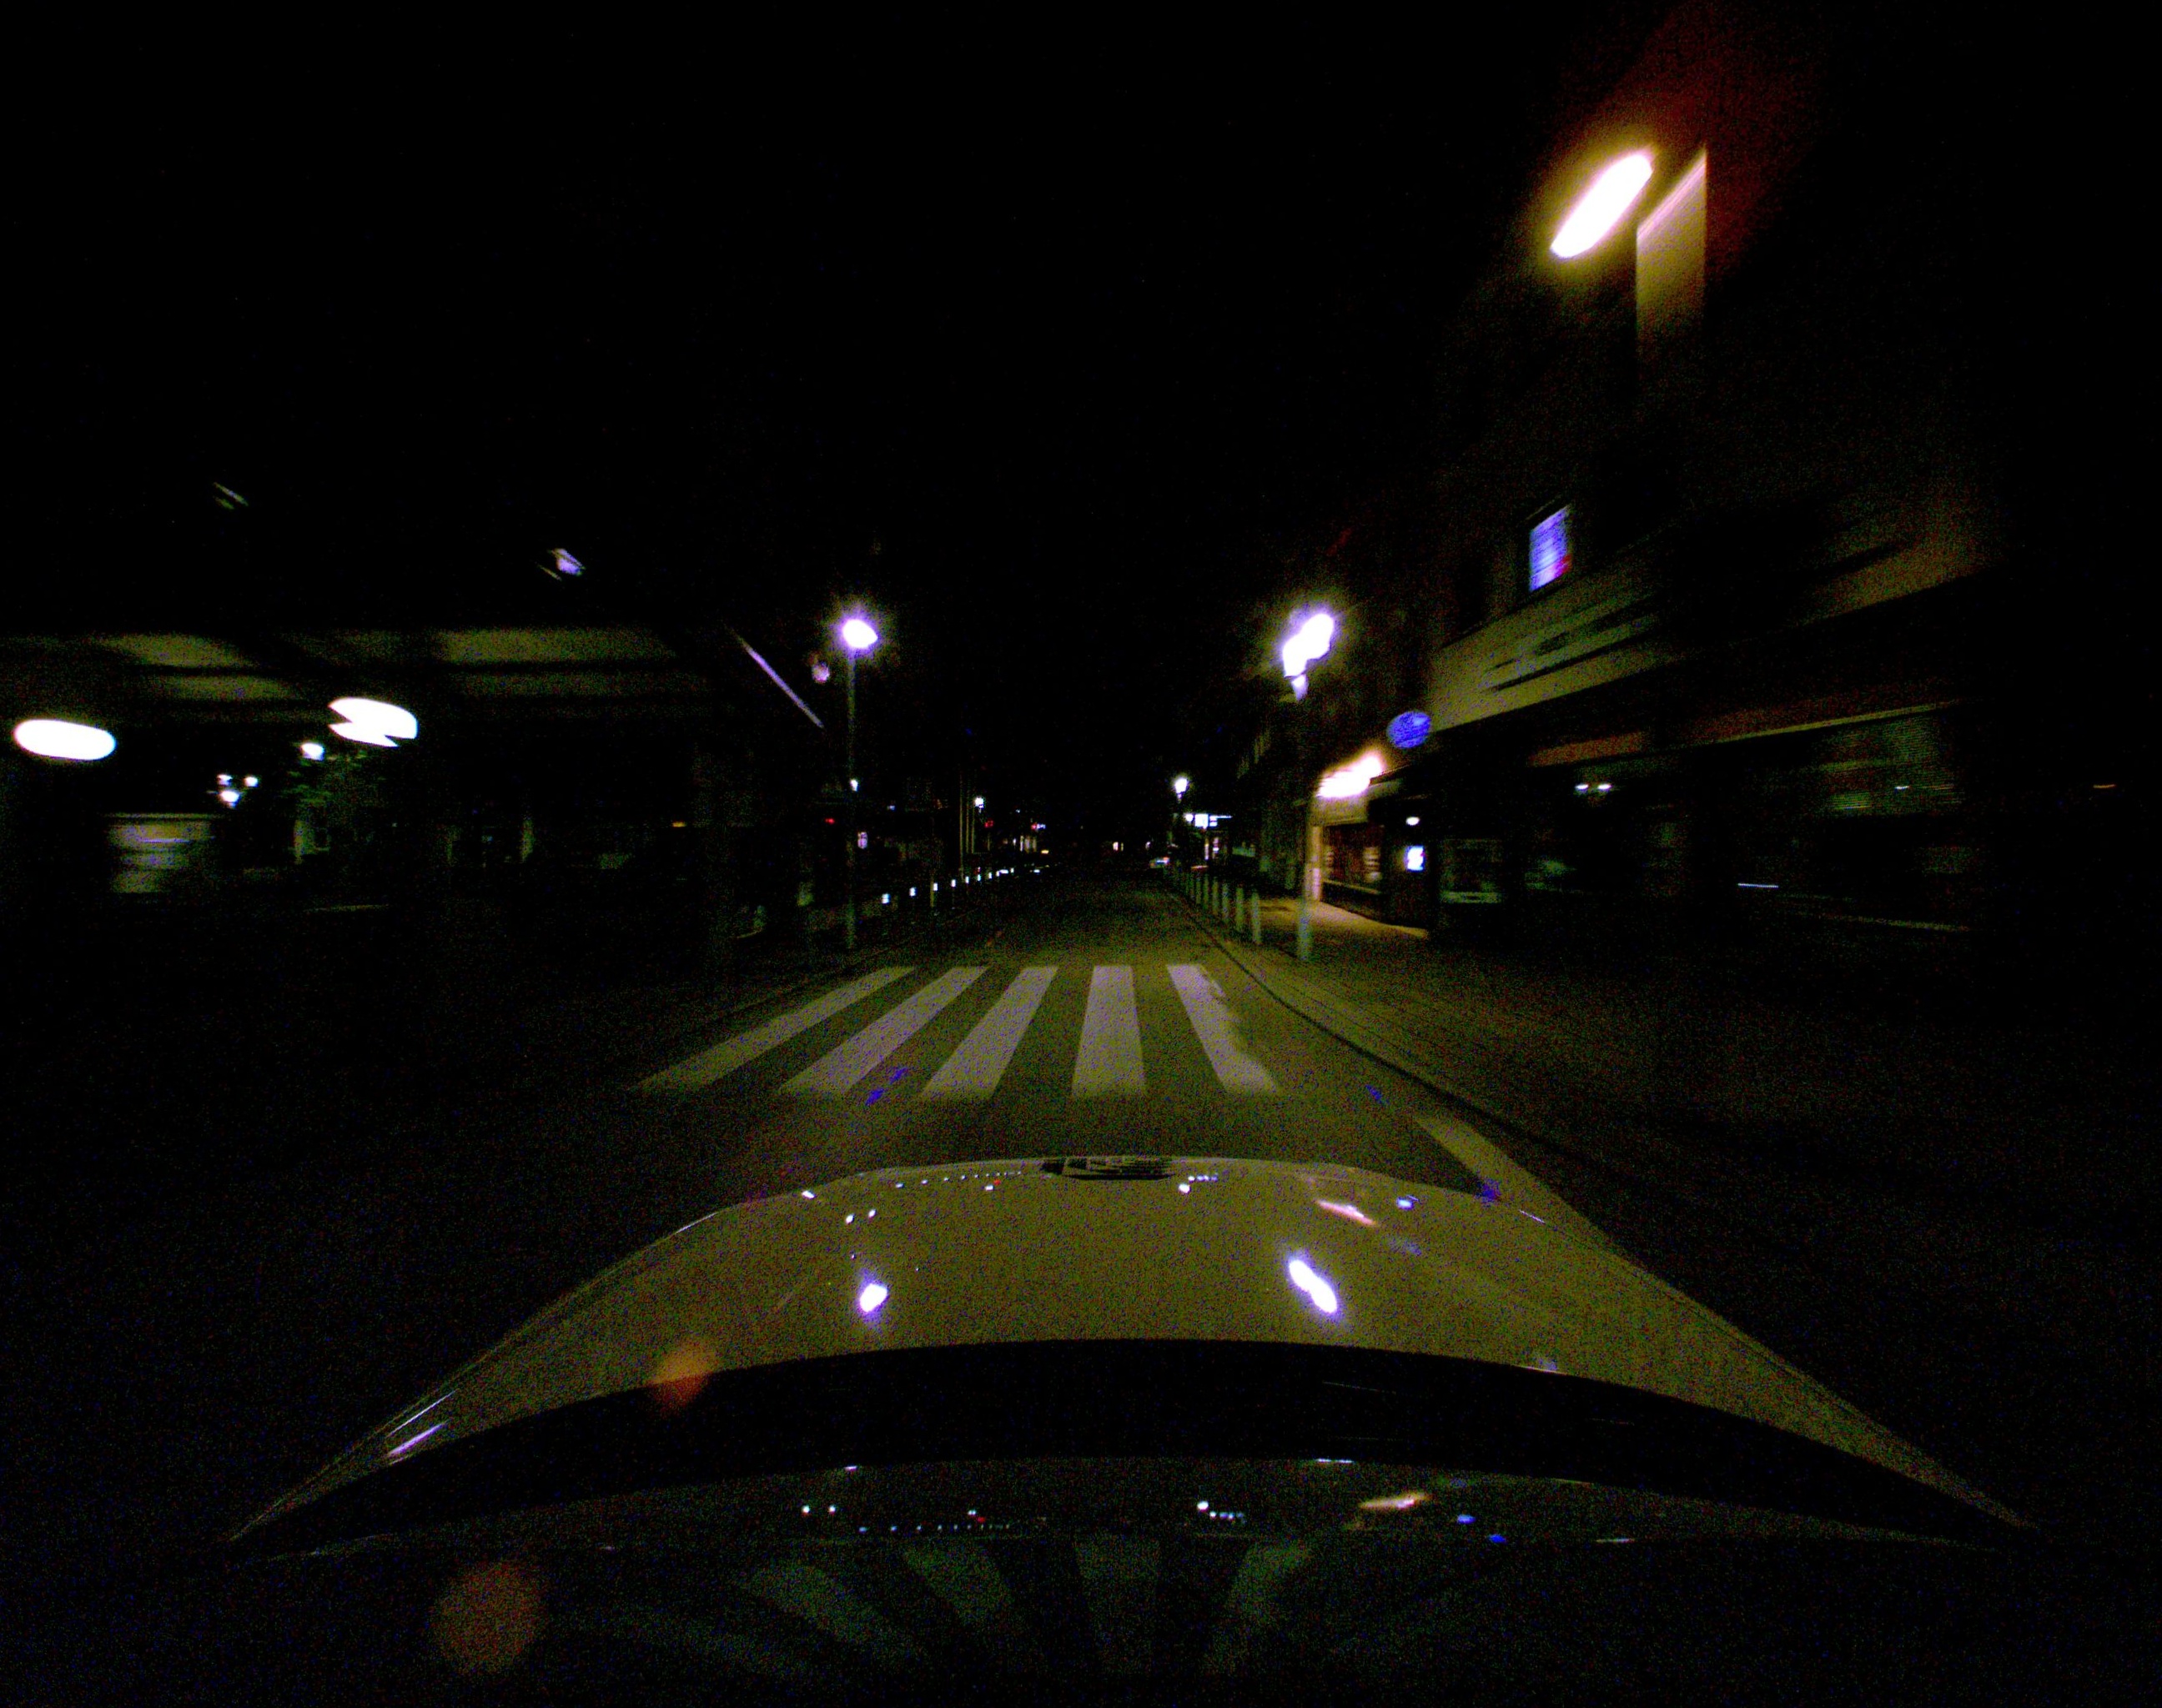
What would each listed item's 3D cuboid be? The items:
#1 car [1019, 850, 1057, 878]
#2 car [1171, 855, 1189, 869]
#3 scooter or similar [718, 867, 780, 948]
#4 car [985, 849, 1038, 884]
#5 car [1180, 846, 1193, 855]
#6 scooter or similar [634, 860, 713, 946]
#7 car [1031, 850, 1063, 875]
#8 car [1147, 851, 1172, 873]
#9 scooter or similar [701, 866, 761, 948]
[{"bbox_3d":[-2.540,0.561,49.167,1.898,1.541,4.783,1,0,1],"label":"car"},{"bbox_3d":[10.599,0.815,87.243,1.724,1.440,4.508,0,1,9],"label":"car"},{"bbox_3d":[-5.705,0.880,14.040,0.367,1.264,1.450,1,1,4],"label":"scooter or similar"},{"bbox_3d":[-3.234,0.559,38.657,1.762,1.574,4.489,1,0,5],"label":"car"},{"bbox_3d":[21.296,-0.712,164.509,2.003,1.691,5.023,1,1,15],"label":"car"},{"bbox_3d":[-7.022,0.817,14.099,0.593,1.380,1.353,0,1,3],"label":"scooter or similar"},{"bbox_3d":[-2.283,0.557,55.666,1.752,1.637,4.818,0,0,2],"label":"car"},{"bbox_3d":[5.622,0.560,58.034,1.733,1.487,4.644,0,-1,6],"label":"car"},{"bbox_3d":[-6.007,0.882,14.051,0.315,1.288,1.450,1,1,4],"label":"scooter or similar"}]
